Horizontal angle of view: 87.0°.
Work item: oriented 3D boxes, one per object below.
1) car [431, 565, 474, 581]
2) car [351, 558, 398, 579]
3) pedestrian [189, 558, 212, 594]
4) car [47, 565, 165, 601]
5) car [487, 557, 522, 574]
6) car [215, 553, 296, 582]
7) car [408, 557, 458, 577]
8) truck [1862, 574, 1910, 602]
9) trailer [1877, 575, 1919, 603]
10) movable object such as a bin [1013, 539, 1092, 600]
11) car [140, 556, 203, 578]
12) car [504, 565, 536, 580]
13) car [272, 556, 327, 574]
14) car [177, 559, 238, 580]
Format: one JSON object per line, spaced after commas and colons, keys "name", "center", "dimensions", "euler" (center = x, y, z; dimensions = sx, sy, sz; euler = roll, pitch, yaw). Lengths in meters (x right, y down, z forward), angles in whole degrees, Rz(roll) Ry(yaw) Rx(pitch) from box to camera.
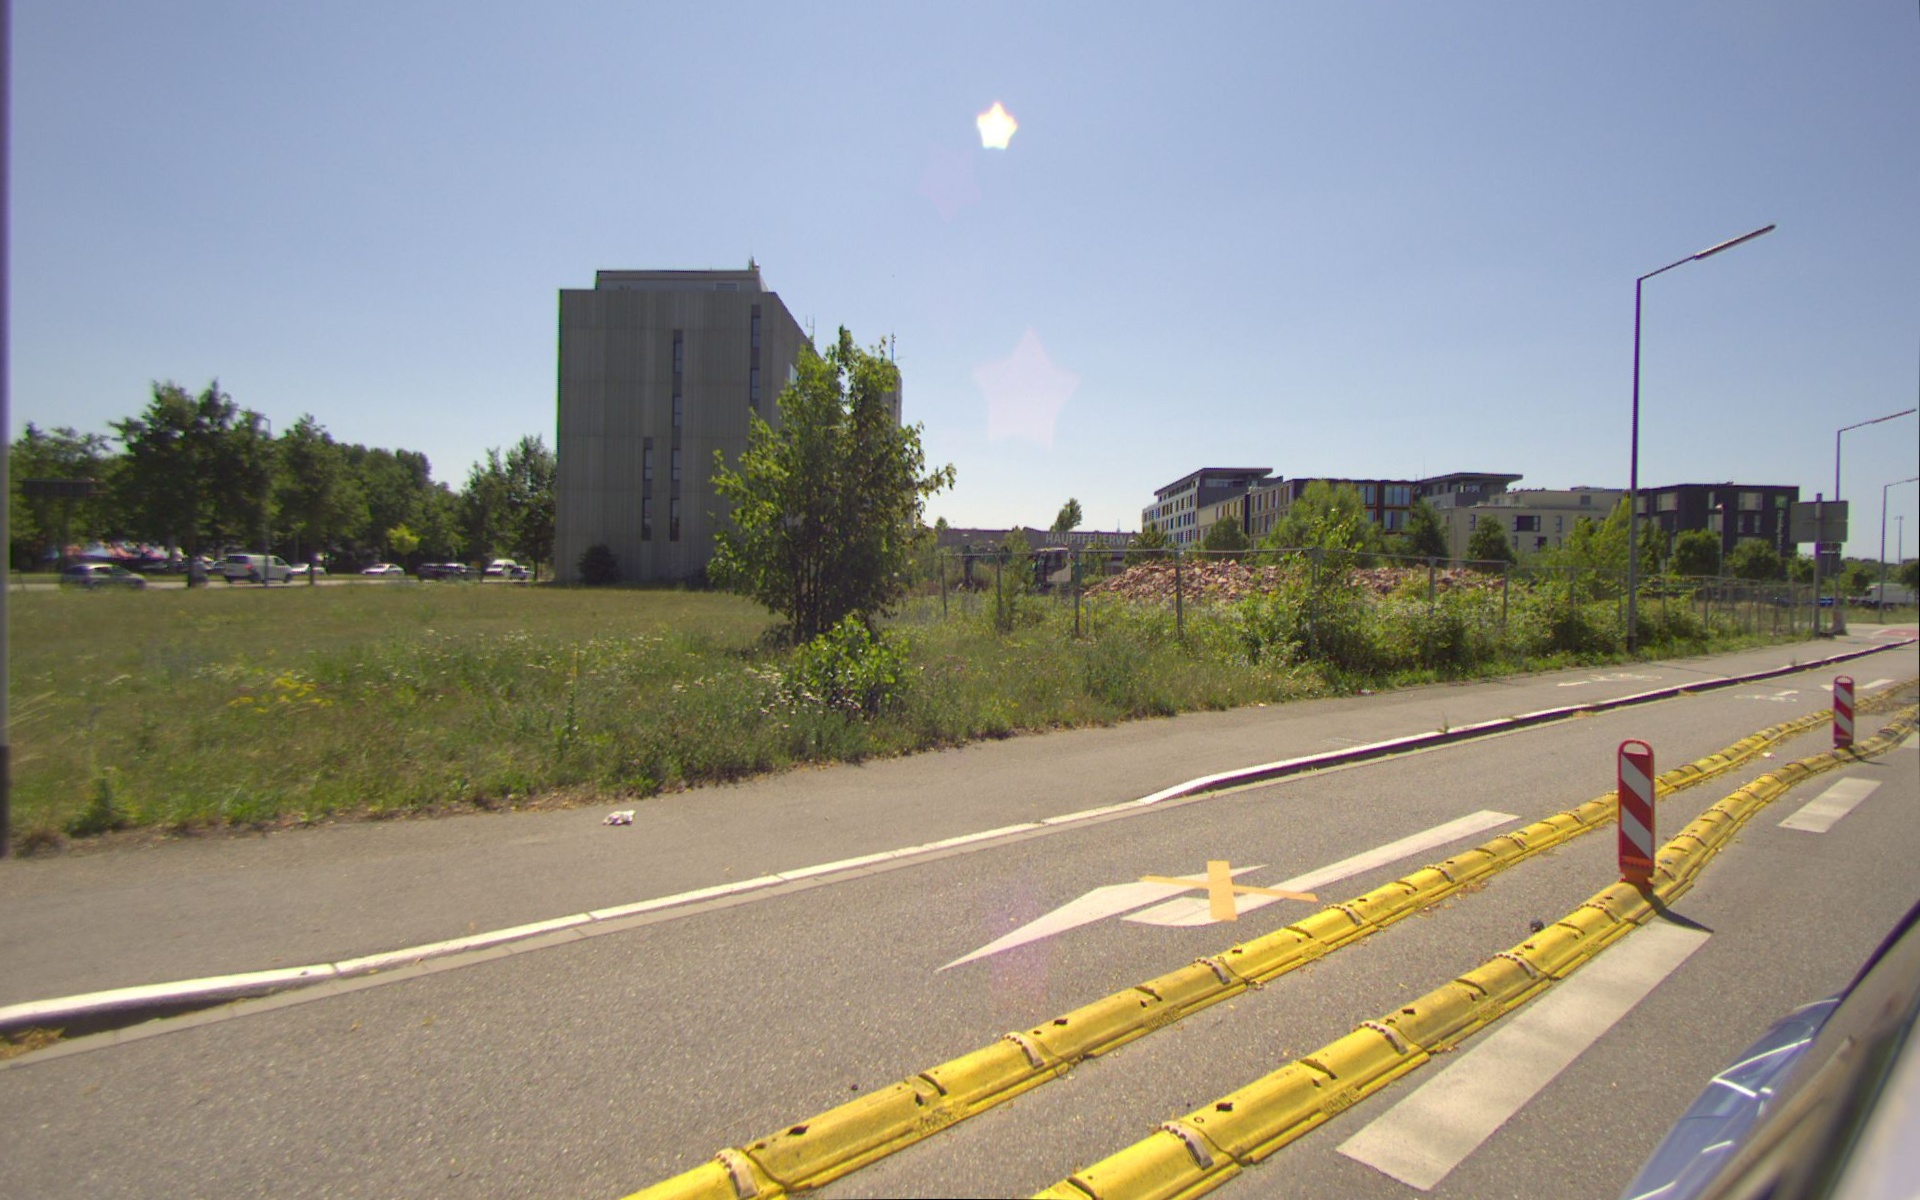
{"name": "car", "center": [-47.731, -2.540, 95.283], "dimensions": [1.866, 1.408, 4.205], "euler": [0, 1, 2]}
{"name": "car", "center": [-58.221, -3.158, 100.746], "dimensions": [1.963, 2.001, 4.571], "euler": [0, 1, 2]}
{"name": "pedestrian", "center": [-33.823, -1.073, 45.055], "dimensions": [0.489, 1.583, 0.737], "euler": [0, 0, -1]}
{"name": "car", "center": [-42.953, -0.869, 51.087], "dimensions": [1.961, 1.727, 4.942], "euler": [0, 1, -3]}
{"name": "car", "center": [-57.029, -4.275, 126.695], "dimensions": [1.963, 2.039, 5.083], "euler": [0, 1, 2]}
{"name": "car", "center": [-47.533, -2.134, 68.401], "dimensions": [1.963, 1.873, 4.985], "euler": [0, 1, 2]}
{"name": "car", "center": [-45.005, -2.801, 86.575], "dimensions": [1.962, 1.616, 4.447], "euler": [0, 1, 0]}
{"name": "truck", "center": [115.867, -1.457, 126.703], "dimensions": [3.928, 3.377, 1.998], "euler": [1, 1, 4]}
{"name": "trailer", "center": [119.663, -1.337, 126.405], "dimensions": [8.030, 3.390, 1.998], "euler": [1, 1, 4]}
{"name": "movable object such as a bin", "center": [4.932, -1.589, 53.957], "dimensions": [3.619, 3.101, 2.207], "euler": [0, 1, -35]}
{"name": "car", "center": [-61.372, -2.556, 78.841], "dimensions": [1.708, 1.571, 3.999], "euler": [0, 1, 1]}
{"name": "car", "center": [-47.786, -3.009, 109.949], "dimensions": [1.708, 1.571, 3.999], "euler": [0, 1, 1]}
{"name": "car", "center": [-61.777, -3.262, 94.792], "dimensions": [1.963, 1.590, 4.779], "euler": [0, 1, 2]}
{"name": "car", "center": [-58.127, -2.353, 78.239], "dimensions": [1.708, 1.571, 3.999], "euler": [0, 1, 1]}
